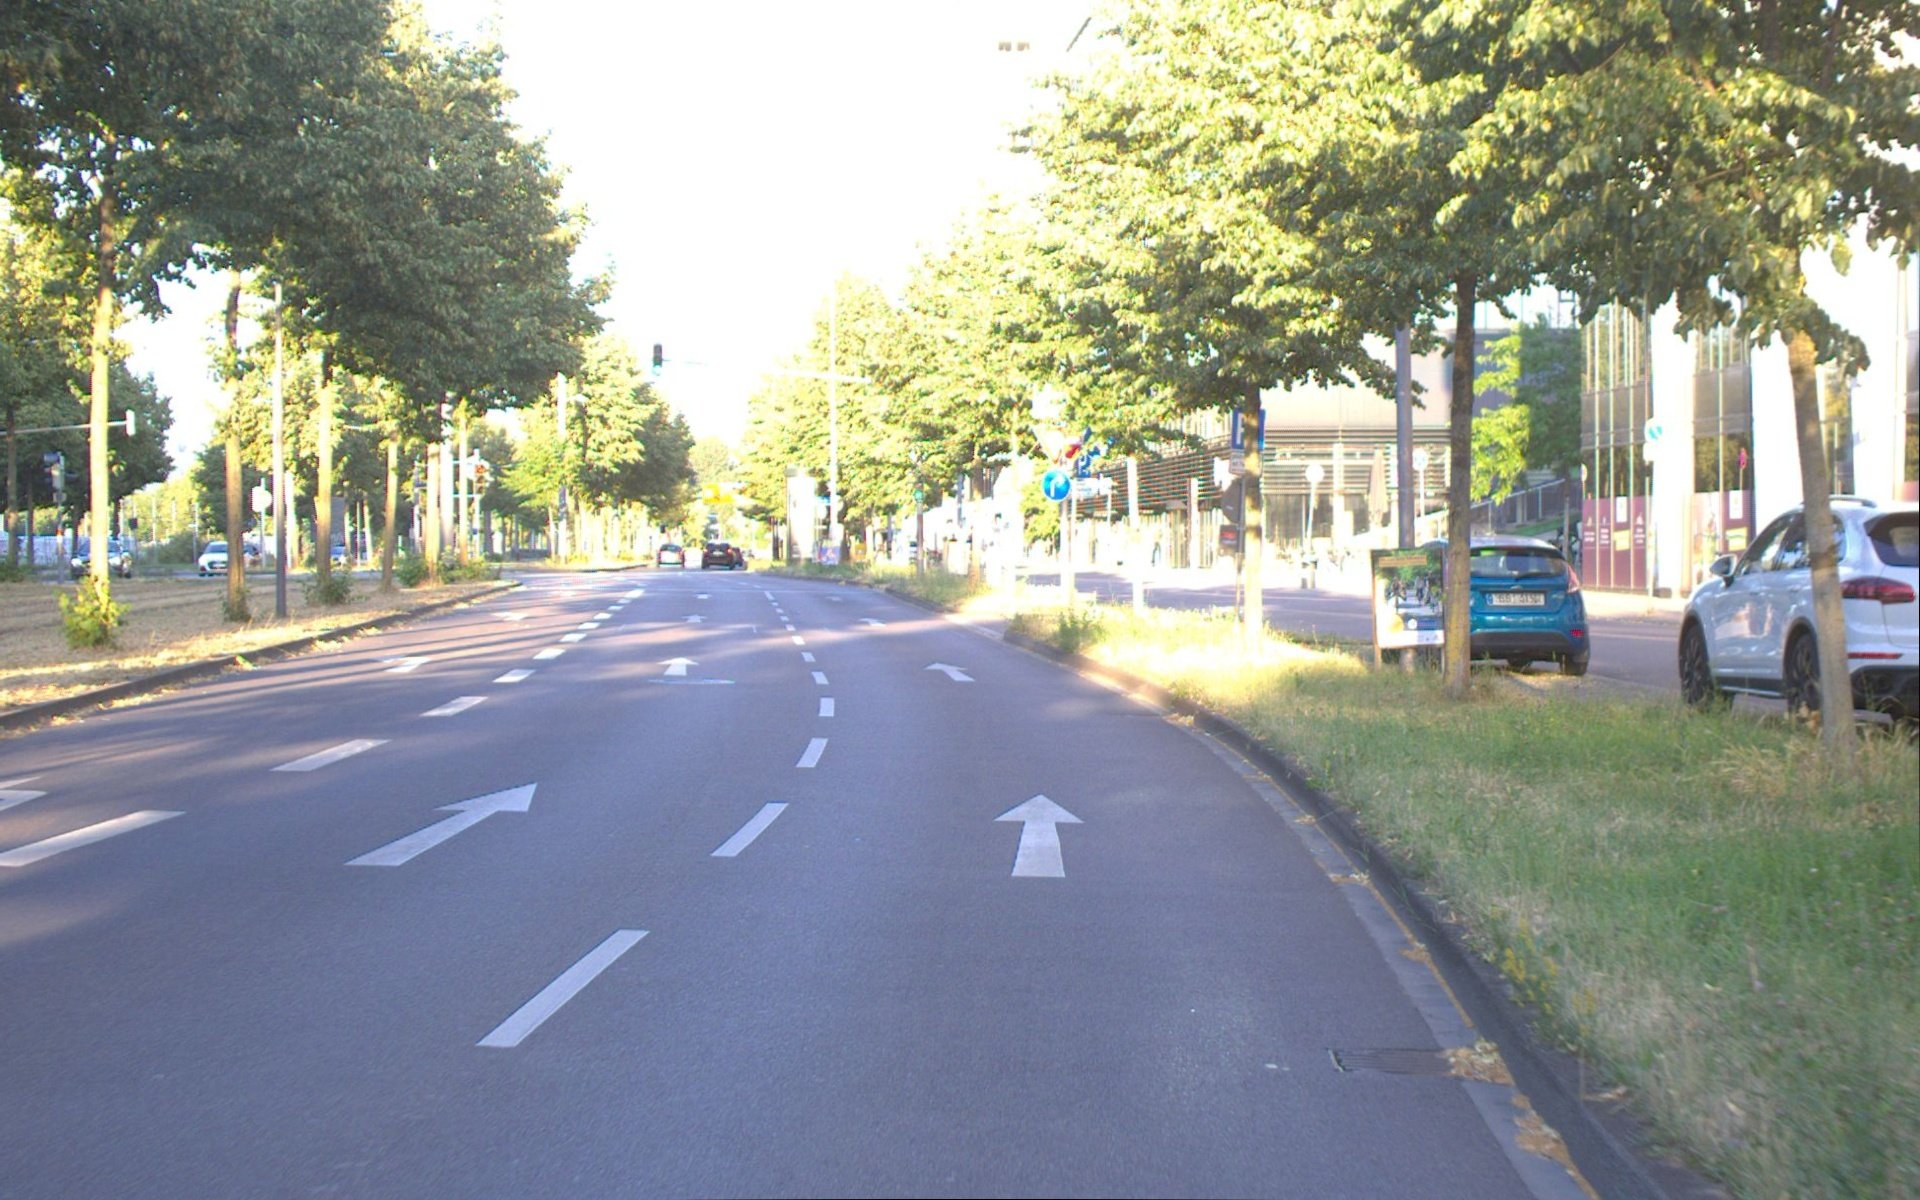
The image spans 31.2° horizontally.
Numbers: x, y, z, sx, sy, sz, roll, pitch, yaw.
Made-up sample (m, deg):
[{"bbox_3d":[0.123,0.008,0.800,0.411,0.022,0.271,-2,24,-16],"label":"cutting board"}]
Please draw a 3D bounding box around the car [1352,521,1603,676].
[{"bbox_3d":[5.455,-0.052,36.726,1.724,1.524,4.269,1,1,-4],"label":"car"}]

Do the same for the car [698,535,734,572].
[{"bbox_3d":[-13.663,-2.605,192.420,1.993,2.007,4.001,0,1,-5],"label":"car"}]

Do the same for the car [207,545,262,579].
[{"bbox_3d":[-29.393,-1.563,139.414,1.786,1.327,3.672,0,1,-5],"label":"car"}]

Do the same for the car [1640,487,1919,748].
[{"bbox_3d":[6.621,0.083,25.331,1.951,1.708,5.159,1,1,-3],"label":"car"}]

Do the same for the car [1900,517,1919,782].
[{"bbox_3d":[6.606,0.341,17.932,1.854,1.524,4.483,1,1,-4],"label":"car"}]

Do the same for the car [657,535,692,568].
[{"bbox_3d":[-17.378,-2.970,209.381,2.087,2.007,4.001,0,1,-5],"label":"car"}]

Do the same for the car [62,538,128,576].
[{"bbox_3d":[-31.533,-1.585,125.452,1.656,1.327,4.585,0,1,-5],"label":"car"}]

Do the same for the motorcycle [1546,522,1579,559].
[{"bbox_3d":[17.779,-1.759,101.487,0.650,1.090,2.332,0,1,2],"label":"motorcycle"}]

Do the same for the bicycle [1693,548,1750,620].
[{"bbox_3d":[11.635,-0.253,52.544,0.446,1.069,1.774,-2,1,0],"label":"bicycle"}]
